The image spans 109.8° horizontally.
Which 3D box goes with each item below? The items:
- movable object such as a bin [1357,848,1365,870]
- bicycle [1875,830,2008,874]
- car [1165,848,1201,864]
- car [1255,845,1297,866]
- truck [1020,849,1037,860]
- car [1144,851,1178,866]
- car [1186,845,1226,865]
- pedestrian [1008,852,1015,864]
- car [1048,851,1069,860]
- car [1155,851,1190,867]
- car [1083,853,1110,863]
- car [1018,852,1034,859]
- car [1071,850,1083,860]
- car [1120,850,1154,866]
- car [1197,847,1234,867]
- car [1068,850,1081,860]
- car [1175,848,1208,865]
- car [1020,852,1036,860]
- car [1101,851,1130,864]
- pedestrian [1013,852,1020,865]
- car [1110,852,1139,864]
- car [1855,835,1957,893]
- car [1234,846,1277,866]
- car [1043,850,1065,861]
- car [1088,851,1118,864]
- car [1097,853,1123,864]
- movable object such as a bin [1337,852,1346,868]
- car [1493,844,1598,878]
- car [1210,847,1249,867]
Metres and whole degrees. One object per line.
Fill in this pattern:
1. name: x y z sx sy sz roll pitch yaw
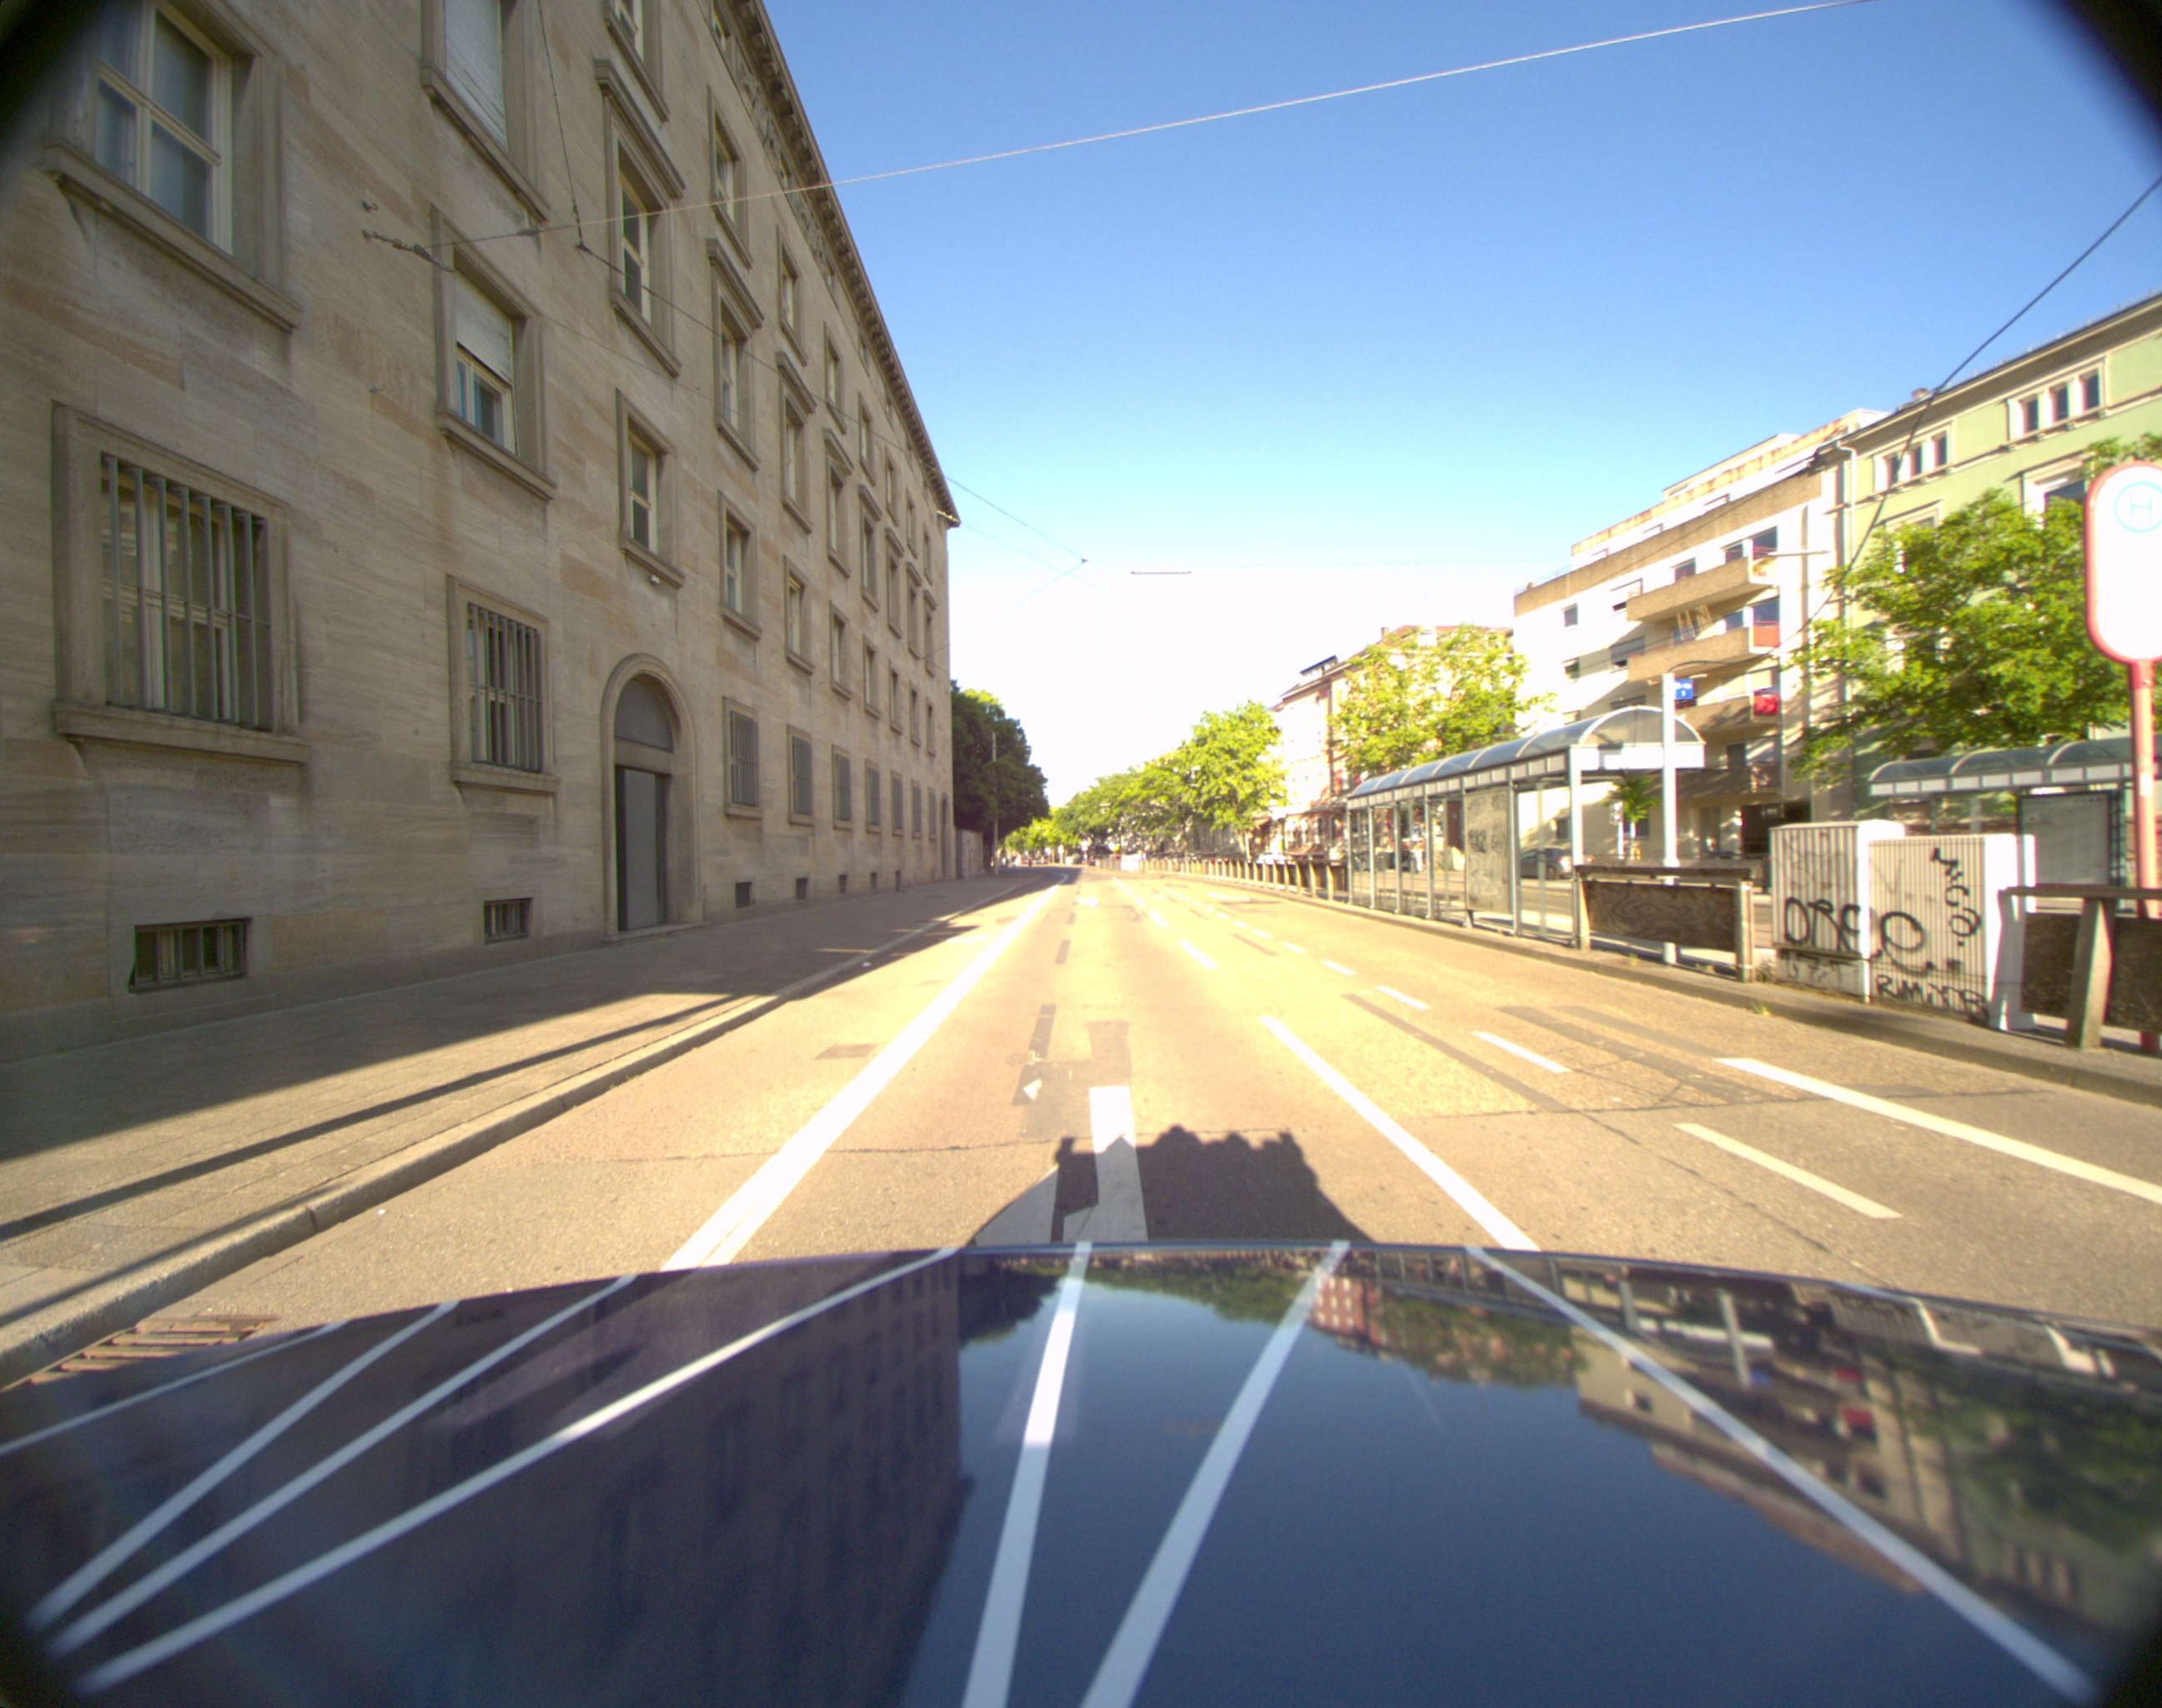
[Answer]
1. movable object such as a bin: 18.904 0.340 51.248 0.380 1.418 0.386 -1 1 0
2. bicycle: 29.149 -0.079 25.853 0.719 1.390 3.007 -1 0 -14
3. car: 11.317 0.198 83.917 3.829 1.477 1.766 -4 2 -41
4. car: 16.384 0.131 63.629 1.731 1.513 3.923 -3 1 41
5. truck: -13.179 0.060 190.766 3.774 2.409 1.671 -4 1 -13
6. car: 9.510 0.537 90.293 3.877 1.645 1.768 -4 2 -41
7. car: 12.823 0.115 77.607 4.293 1.713 1.703 -6 3 -43
8. pedestrian: -9.880 0.604 107.879 0.831 1.710 0.804 -1 1 -6
9. car: -4.706 0.371 157.956 4.105 1.561 1.670 -4 1 -18
10. car: 10.543 0.549 87.034 3.877 1.645 1.768 -4 2 -41
11. car: 2.449 0.620 119.793 4.007 1.478 1.777 -4 2 -44
12. car: -14.372 0.462 196.924 3.775 1.584 1.670 -4 1 -18
13. car: -0.723 0.156 141.946 1.673 1.886 3.211 -1 0 -12
14. car: 6.958 0.454 94.419 4.208 1.788 1.781 -4 2 -41
15. car: 13.165 0.281 74.125 1.630 1.607 3.993 -2 1 43
16. car: -1.265 0.159 146.284 1.673 1.886 3.211 -1 0 -12
17. car: 11.851 0.273 81.193 3.286 1.524 1.703 -6 2 -43
18. car: -13.539 0.523 193.602 3.775 1.584 1.670 -4 1 -18
19. car: 5.051 0.505 111.939 4.208 1.714 1.780 -5 2 -44
20. pedestrian: -9.128 0.640 107.399 0.872 1.710 0.804 -1 1 -3
21. car: 6.252 0.585 109.307 4.208 1.549 1.636 -4 1 -41
22. car: 24.358 0.234 22.568 4.524 1.417 1.868 -4 2 -45
23. car: 15.366 0.146 66.704 3.929 1.499 1.685 -5 1 -43
24. car: -5.738 0.277 161.003 4.311 1.940 1.670 -4 1 -18
25. car: 3.402 0.496 116.778 4.366 1.704 1.944 -4 2 -35
26. car: 4.383 0.675 114.557 1.744 1.511 3.772 -2 2 44
27. movable object such as a bin: 17.922 0.389 52.260 0.380 1.062 0.639 -1 1 0
28. car: 20.829 0.306 34.282 1.711 1.402 4.289 -1 0 -8
29. car: 13.983 0.268 71.395 1.630 1.607 3.993 -2 1 43
